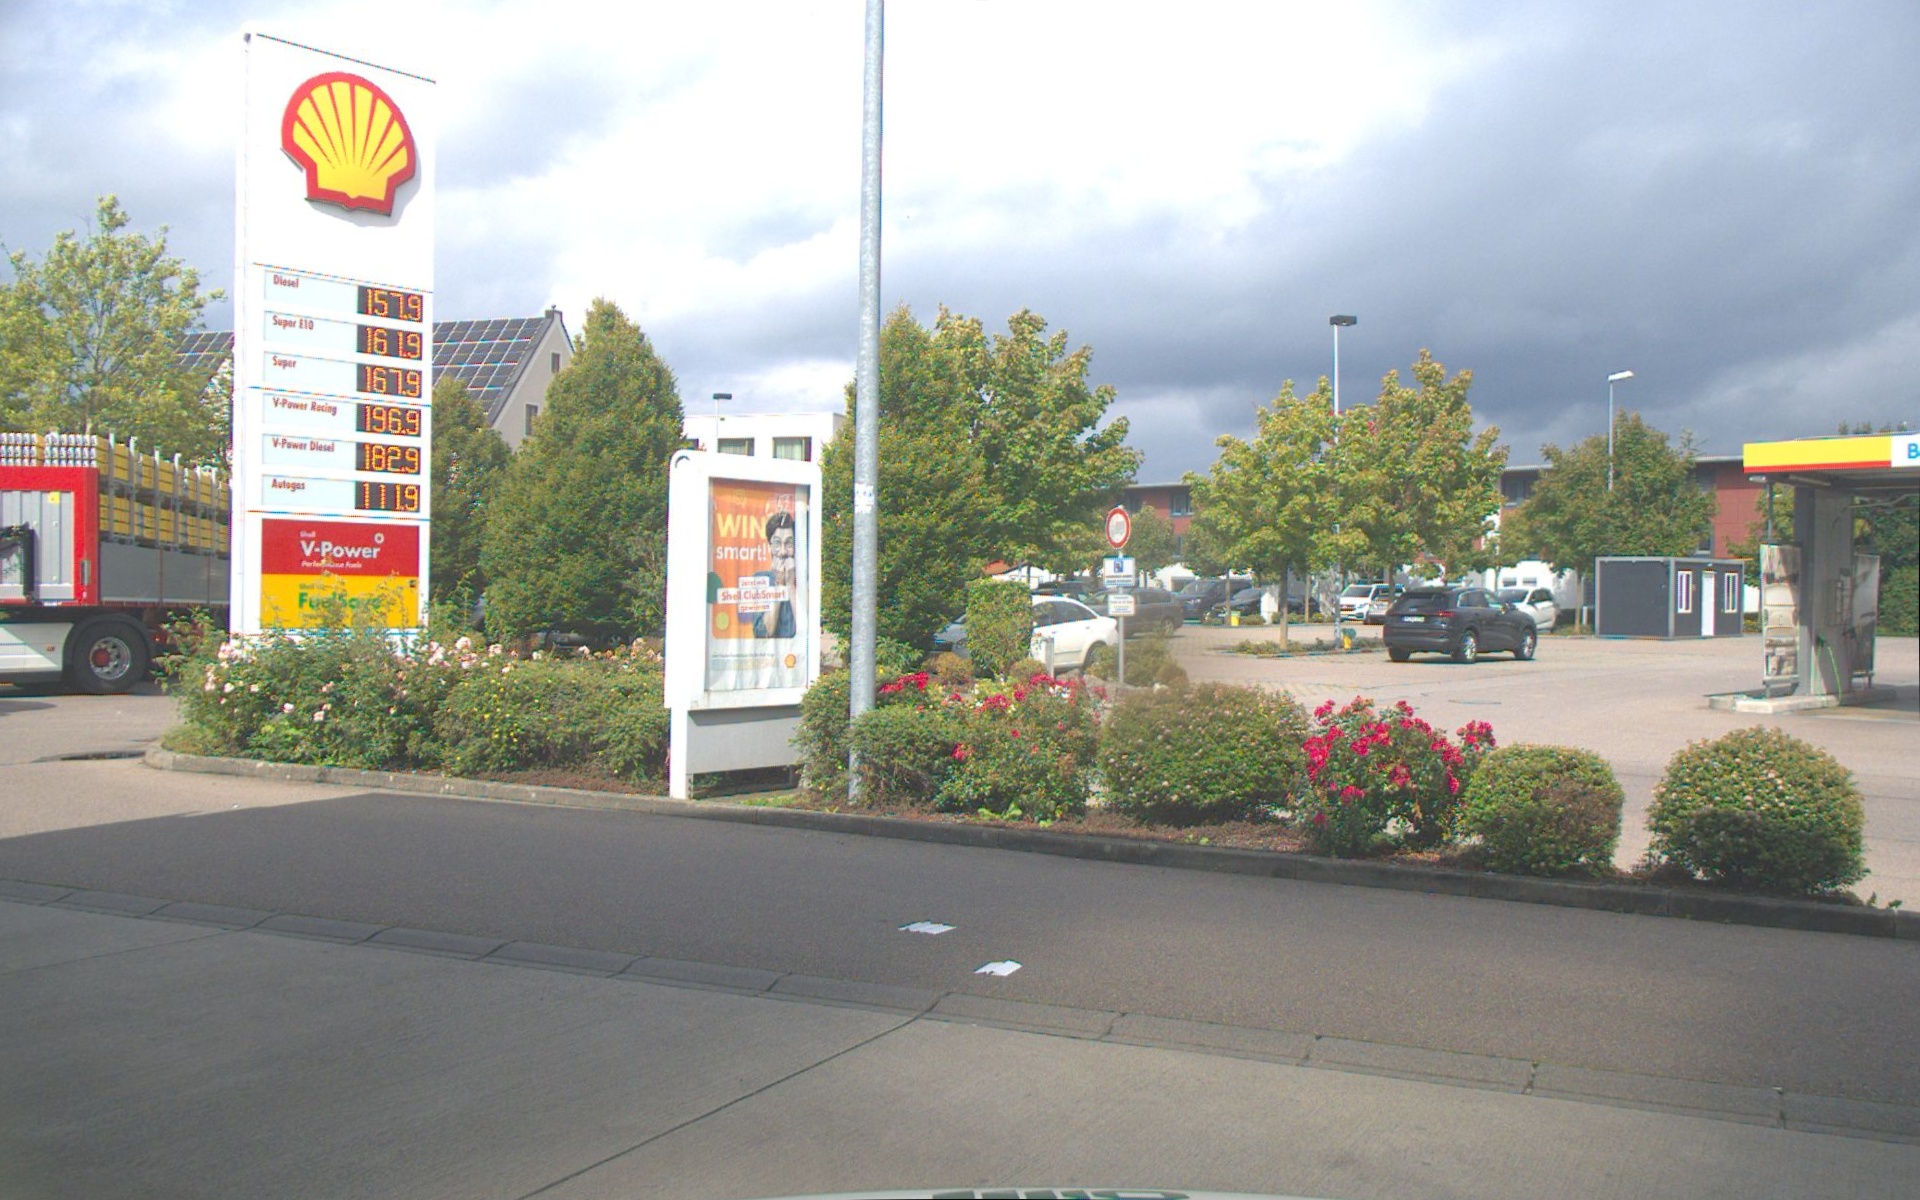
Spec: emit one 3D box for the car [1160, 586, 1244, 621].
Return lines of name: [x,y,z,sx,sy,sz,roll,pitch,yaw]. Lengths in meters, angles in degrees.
car: [9.806,0.159,66.920,3.364,1.343,1.719,1,0,-45]

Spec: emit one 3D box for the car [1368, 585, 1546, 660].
car: [11.129,0.495,36.881,4.467,1.575,1.856,1,0,-44]

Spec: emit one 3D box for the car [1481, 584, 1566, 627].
car: [18.004,0.179,52.795,3.080,1.330,1.346,1,-1,-45]

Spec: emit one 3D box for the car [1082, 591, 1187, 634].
car: [5.276,0.380,49.780,3.203,1.249,1.481,1,0,-45]

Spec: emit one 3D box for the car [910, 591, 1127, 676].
car: [1.133,0.588,29.923,1.348,1.428,4.312,0,-1,45]

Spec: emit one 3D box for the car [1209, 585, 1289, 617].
car: [11.408,0.054,65.198,3.393,1.199,1.462,1,0,-45]

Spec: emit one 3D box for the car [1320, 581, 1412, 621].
car: [19.908,0.048,80.935,4.839,1.865,2.150,1,0,-44]

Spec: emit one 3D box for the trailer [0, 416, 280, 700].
trailer: [-14.484,-0.573,28.631,2.682,3.842,12.674,1,0,-12]

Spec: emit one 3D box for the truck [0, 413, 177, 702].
truck: [-14.388,-0.598,22.817,2.688,3.913,5.892,1,-1,38]
